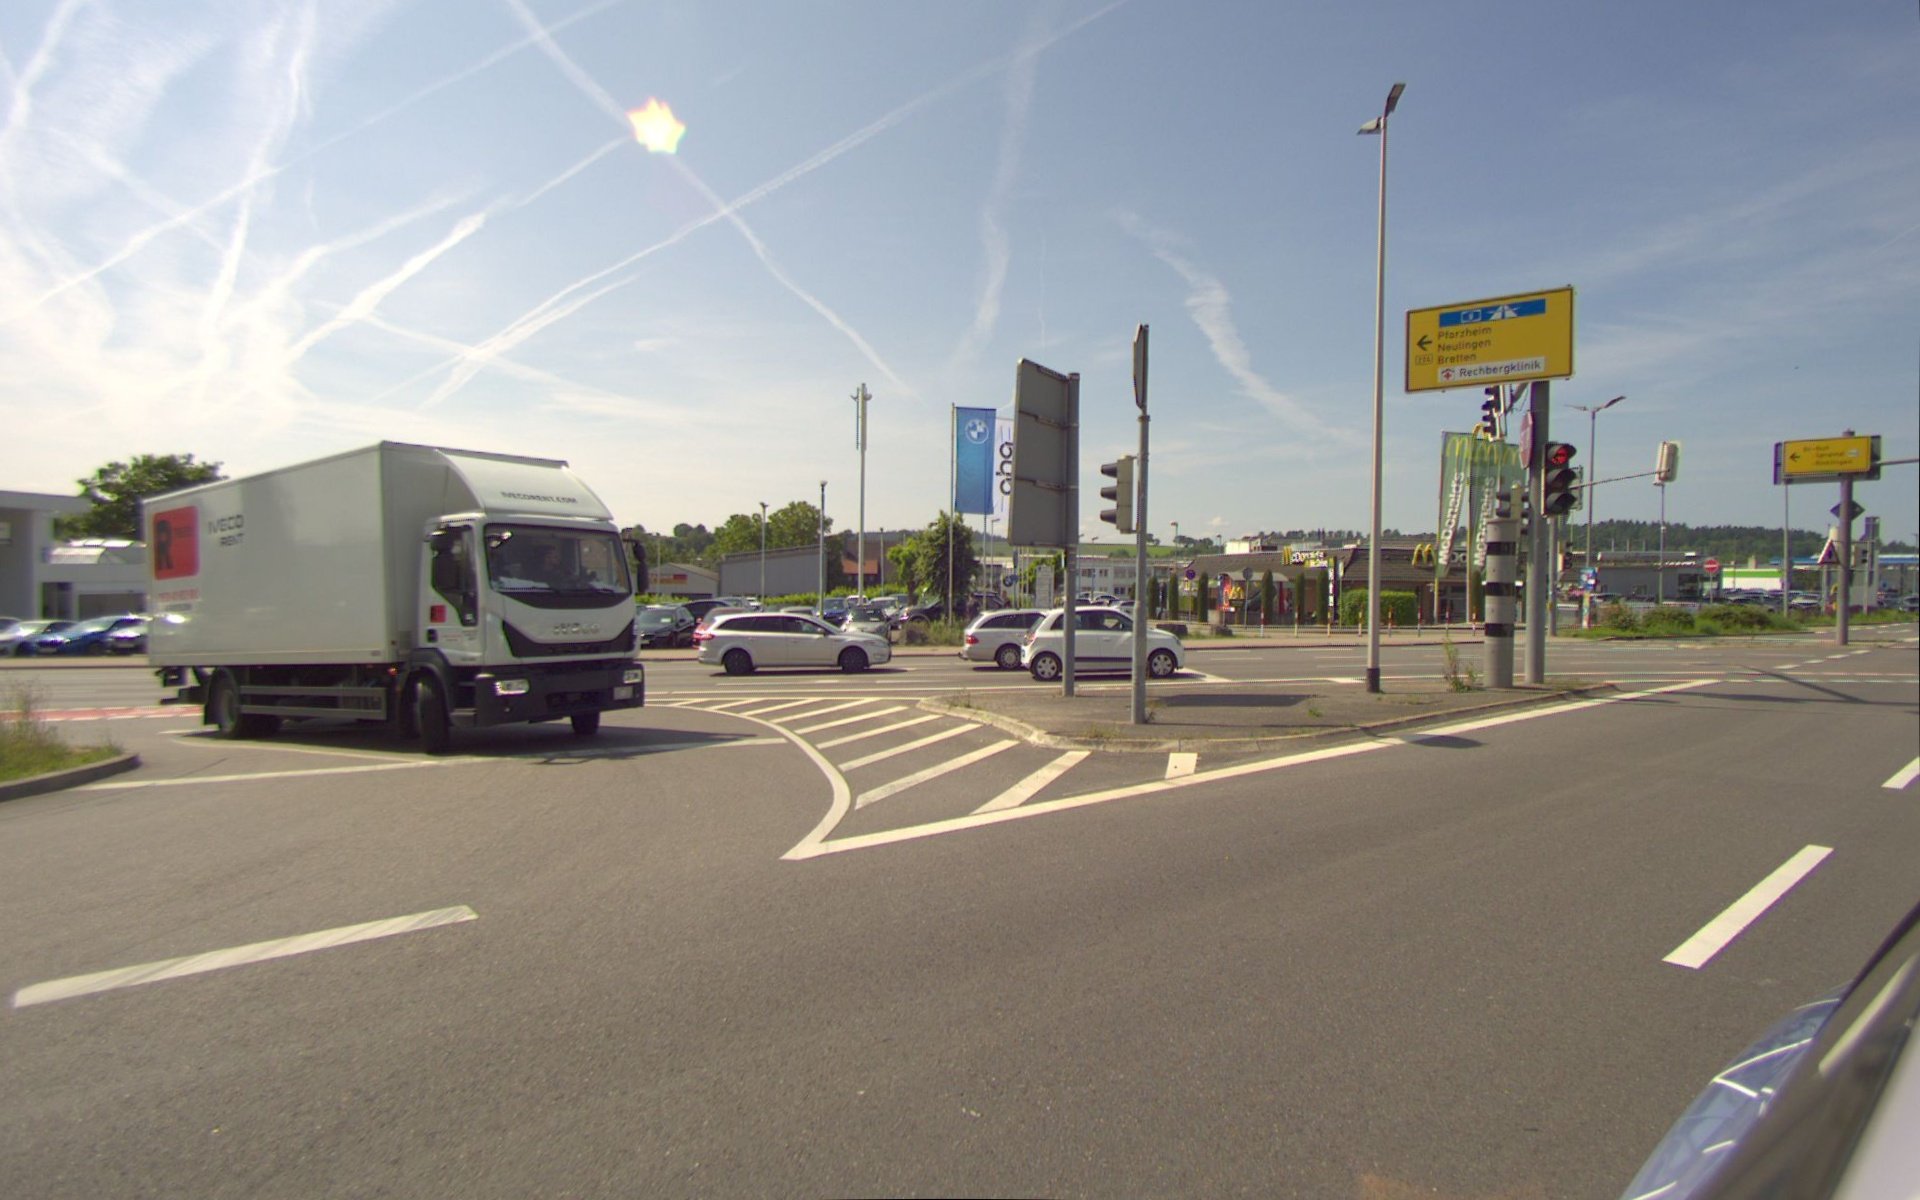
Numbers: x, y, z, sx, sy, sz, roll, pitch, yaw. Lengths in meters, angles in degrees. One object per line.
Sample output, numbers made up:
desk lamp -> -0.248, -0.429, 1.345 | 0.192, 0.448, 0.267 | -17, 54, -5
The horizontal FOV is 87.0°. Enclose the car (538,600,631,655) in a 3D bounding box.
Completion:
car -> -13.342, 0.932, 36.232 | 1.960, 1.637, 4.486 | 1, 2, -5

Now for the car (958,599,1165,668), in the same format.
car -> 2.433, 0.798, 25.276 | 4.905, 1.524, 2.000 | -1, 0, 0

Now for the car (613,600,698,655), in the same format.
car -> -10.727, 0.917, 35.938 | 1.961, 1.637, 4.004 | 1, 2, -3

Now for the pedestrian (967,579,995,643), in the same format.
pedestrian -> 0.673, 0.356, 32.674 | 0.861, 2.039, 0.665 | 0, 1, -3

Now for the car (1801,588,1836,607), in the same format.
car -> 79.115, -0.244, 93.232 | 4.631, 1.674, 1.905 | -1, 3, -43

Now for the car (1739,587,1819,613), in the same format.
car -> 58.544, -0.037, 72.421 | 3.977, 1.691, 1.764 | 2, 2, 21

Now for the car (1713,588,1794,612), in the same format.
car -> 54.051, 0.000, 68.964 | 4.180, 1.510, 1.751 | 1, 2, -3

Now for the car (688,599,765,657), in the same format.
car -> -8.223, 0.946, 36.045 | 1.961, 1.749, 4.004 | 1, 2, -3

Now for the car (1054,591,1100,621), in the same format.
car -> 6.930, 0.340, 60.292 | 1.961, 1.538, 4.454 | 1, 2, -3

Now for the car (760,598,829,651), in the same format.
car -> -5.830, 0.823, 36.090 | 1.961, 1.593, 4.004 | 1, 2, -3

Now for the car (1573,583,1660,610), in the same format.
car -> 45.507, -0.271, 70.206 | 4.723, 1.691, 1.914 | 1, 2, -3

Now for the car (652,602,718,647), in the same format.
car -> -11.980, 1.023, 44.326 | 1.969, 1.637, 4.086 | 1, 2, -3

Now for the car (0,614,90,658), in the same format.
car -> -32.977, 1.222, 35.351 | 1.960, 1.204, 4.006 | 1, 2, -5

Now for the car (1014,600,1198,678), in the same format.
car -> 3.095, 0.821, 21.992 | 3.684, 1.523, 1.711 | -1, 0, 0

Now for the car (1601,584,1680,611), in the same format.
car -> 45.686, -0.176, 67.970 | 4.088, 1.691, 1.778 | 1, 2, -3

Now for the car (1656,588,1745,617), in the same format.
car -> 46.254, 0.149, 63.272 | 4.150, 1.595, 1.863 | 1, 2, -3

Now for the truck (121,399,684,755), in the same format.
truck -> -8.278, -0.038, 14.232 | 9.630, 3.674, 2.735 | -3, -1, 34

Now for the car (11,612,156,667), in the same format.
car -> -30.599, 1.347, 35.500 | 1.959, 1.571, 4.007 | 1, 2, -8

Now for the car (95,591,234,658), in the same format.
car -> -27.839, 0.794, 35.607 | 2.027, 2.060, 4.088 | 1, 2, -7

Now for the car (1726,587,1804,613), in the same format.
car -> 59.364, -0.028, 74.686 | 3.942, 1.691, 1.913 | 2, 2, 15

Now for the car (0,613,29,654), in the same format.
car -> -35.300, 1.244, 35.385 | 1.961, 1.389, 4.004 | 1, 2, -3

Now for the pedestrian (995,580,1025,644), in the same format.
pedestrian -> 1.609, 0.378, 32.711 | 0.861, 2.039, 0.665 | 0, 1, -3

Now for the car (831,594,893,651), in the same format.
car -> -3.451, 0.740, 36.173 | 1.961, 1.744, 4.004 | 1, 2, -3

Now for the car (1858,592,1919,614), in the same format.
car -> 61.160, 0.193, 65.548 | 1.932, 1.350, 4.807 | -3, -1, 6
